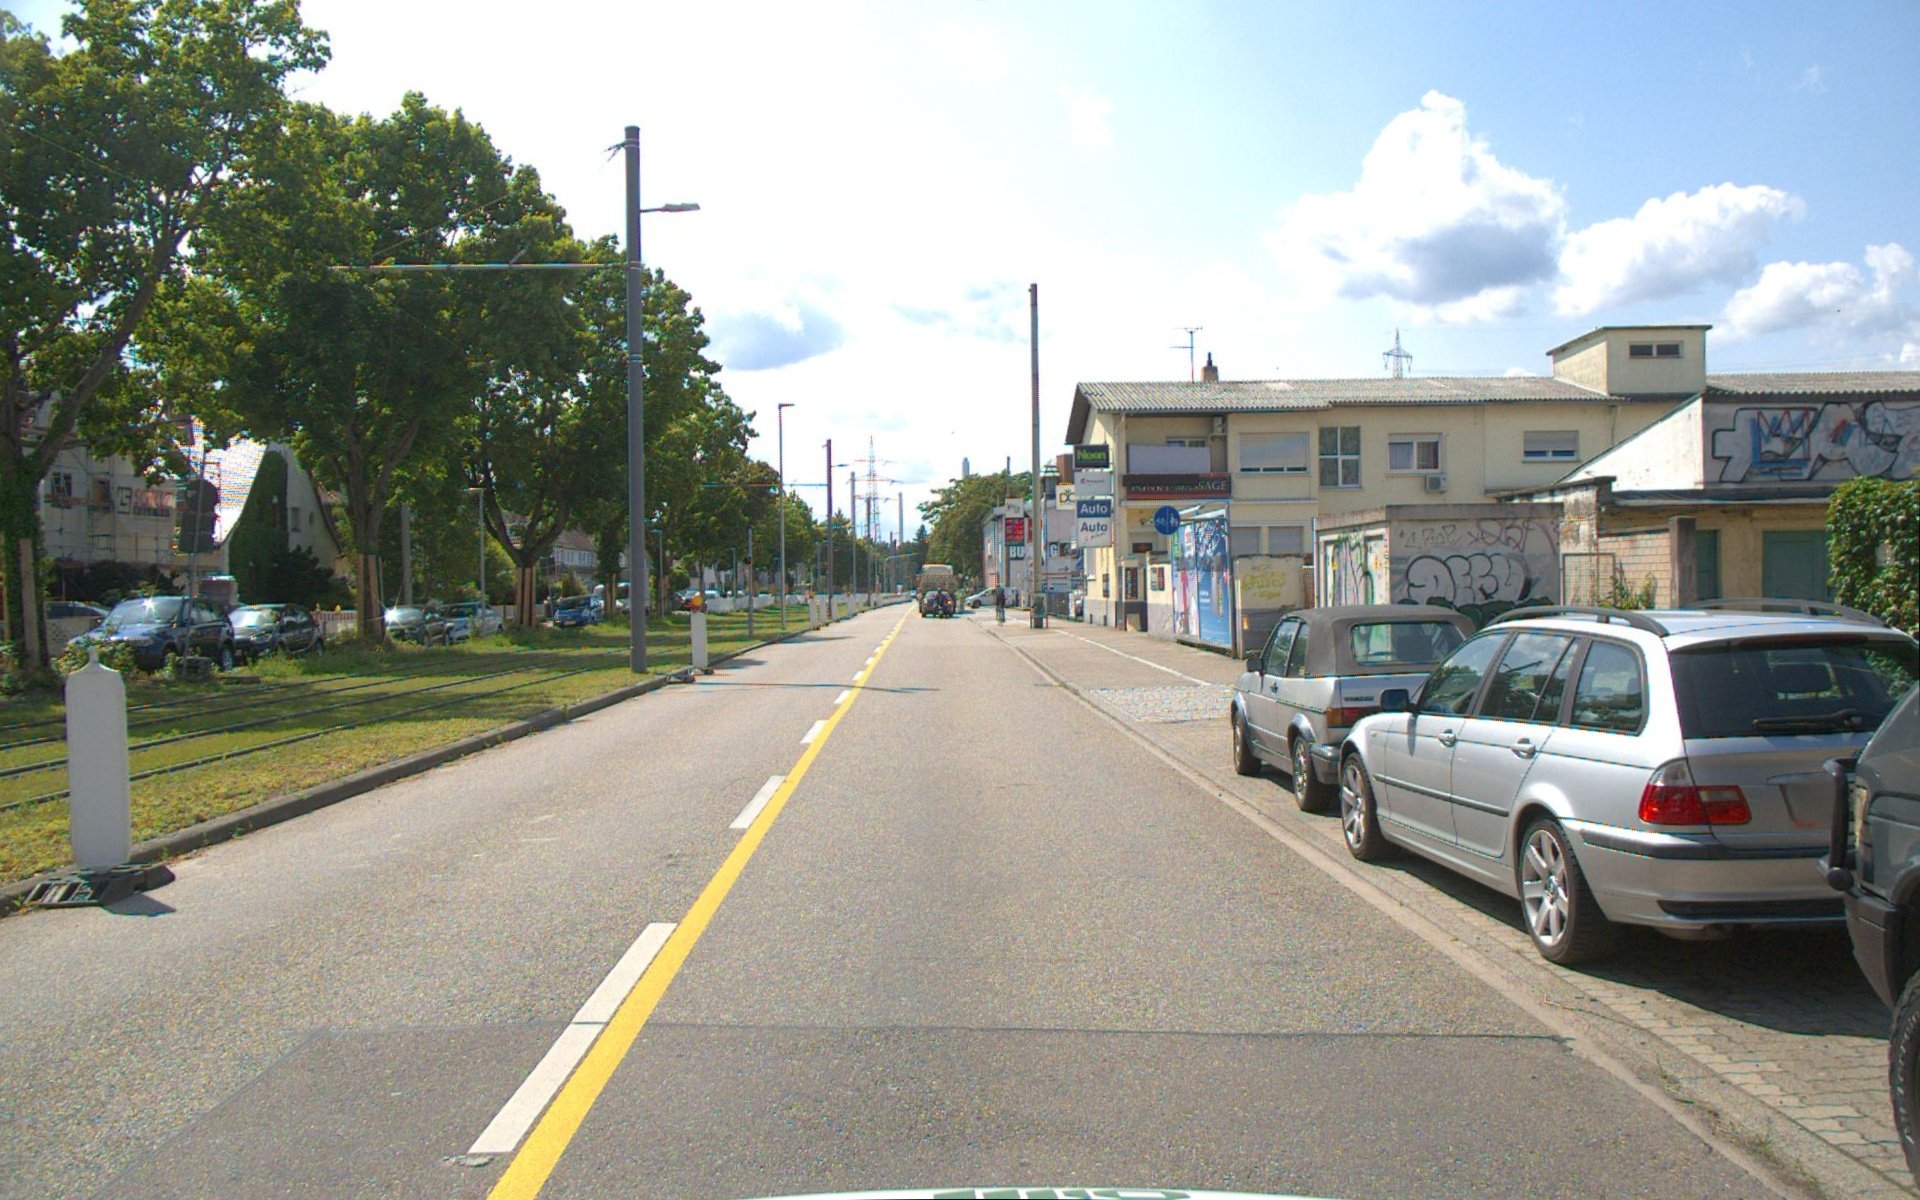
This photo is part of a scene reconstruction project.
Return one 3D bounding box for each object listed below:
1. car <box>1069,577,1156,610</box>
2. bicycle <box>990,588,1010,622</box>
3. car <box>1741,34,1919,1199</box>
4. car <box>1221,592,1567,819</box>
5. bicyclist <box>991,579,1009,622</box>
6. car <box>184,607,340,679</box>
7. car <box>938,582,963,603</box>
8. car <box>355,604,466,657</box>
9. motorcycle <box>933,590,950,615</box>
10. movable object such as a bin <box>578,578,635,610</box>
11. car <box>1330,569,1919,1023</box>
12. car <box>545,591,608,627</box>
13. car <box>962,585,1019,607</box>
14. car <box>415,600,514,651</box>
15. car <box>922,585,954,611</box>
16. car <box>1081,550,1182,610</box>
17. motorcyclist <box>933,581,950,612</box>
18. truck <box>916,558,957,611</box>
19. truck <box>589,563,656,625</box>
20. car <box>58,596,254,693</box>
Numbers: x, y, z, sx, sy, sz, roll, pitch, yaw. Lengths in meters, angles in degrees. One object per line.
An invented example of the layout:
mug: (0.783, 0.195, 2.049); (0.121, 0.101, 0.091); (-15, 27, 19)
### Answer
car: (7.335, -0.295, 79.692); (4.095, 1.456, 1.821); (-2, 0, 6)
bicycle: (1.657, 0.202, 69.194); (0.679, 1.385, 2.418); (-2, 1, -1)
car: (3.269, 0.065, 2.232); (1.955, 2.808, 4.878); (-3, 0, -1)
car: (3.227, 0.707, 13.117); (1.618, 1.456, 4.096); (-2, 0, 0)
bicyclist: (1.674, 0.015, 69.245); (0.657, 1.774, 0.813); (-1, 0, -2)
car: (-16.181, 0.955, 38.554); (1.953, 1.464, 3.999); (-3, 0, -1)
car: (-0.721, -0.583, 125.104); (1.784, 1.489, 4.000); (-1, 1, -1)
car: (-16.124, 0.866, 48.750); (1.954, 1.340, 3.851); (-4, 0, -1)
motorcycle: (-1.040, 0.111, 91.427); (0.920, 1.343, 2.644); (1, 0, -1)
movable object such as a bin: (-29.071, -0.532, 136.002); (4.277, 2.492, 1.776); (-2, 0, -23)
car: (3.246, 0.676, 8.004); (1.658, 1.542, 4.353); (-2, 0, -3)
car: (-16.603, 0.385, 71.779); (1.954, 1.478, 3.998); (-2, 0, -3)
car: (2.456, -0.300, 133.436); (4.251, 1.578, 1.946); (-2, 0, -9)
car: (-16.228, 0.797, 54.402); (1.768, 1.508, 4.938); (-2, 0, -1)
car: (-1.284, -0.127, 95.896); (1.785, 1.449, 3.999); (-1, 1, -1)
car: (7.940, -0.904, 76.899); (4.443, 2.618, 2.151); (-2, 0, 0)
motorcyclist: (-1.031, -0.191, 91.246); (0.920, 1.643, 1.204); (1, 0, -1)
truck: (-1.580, -1.129, 112.102); (2.557, 3.312, 9.182); (-2, 2, 0)
truck: (-16.845, -0.335, 82.895); (1.954, 2.815, 6.275); (-4, 1, -1)
car: (-15.812, 0.829, 32.818); (1.954, 1.720, 4.388); (-2, 0, -4)
